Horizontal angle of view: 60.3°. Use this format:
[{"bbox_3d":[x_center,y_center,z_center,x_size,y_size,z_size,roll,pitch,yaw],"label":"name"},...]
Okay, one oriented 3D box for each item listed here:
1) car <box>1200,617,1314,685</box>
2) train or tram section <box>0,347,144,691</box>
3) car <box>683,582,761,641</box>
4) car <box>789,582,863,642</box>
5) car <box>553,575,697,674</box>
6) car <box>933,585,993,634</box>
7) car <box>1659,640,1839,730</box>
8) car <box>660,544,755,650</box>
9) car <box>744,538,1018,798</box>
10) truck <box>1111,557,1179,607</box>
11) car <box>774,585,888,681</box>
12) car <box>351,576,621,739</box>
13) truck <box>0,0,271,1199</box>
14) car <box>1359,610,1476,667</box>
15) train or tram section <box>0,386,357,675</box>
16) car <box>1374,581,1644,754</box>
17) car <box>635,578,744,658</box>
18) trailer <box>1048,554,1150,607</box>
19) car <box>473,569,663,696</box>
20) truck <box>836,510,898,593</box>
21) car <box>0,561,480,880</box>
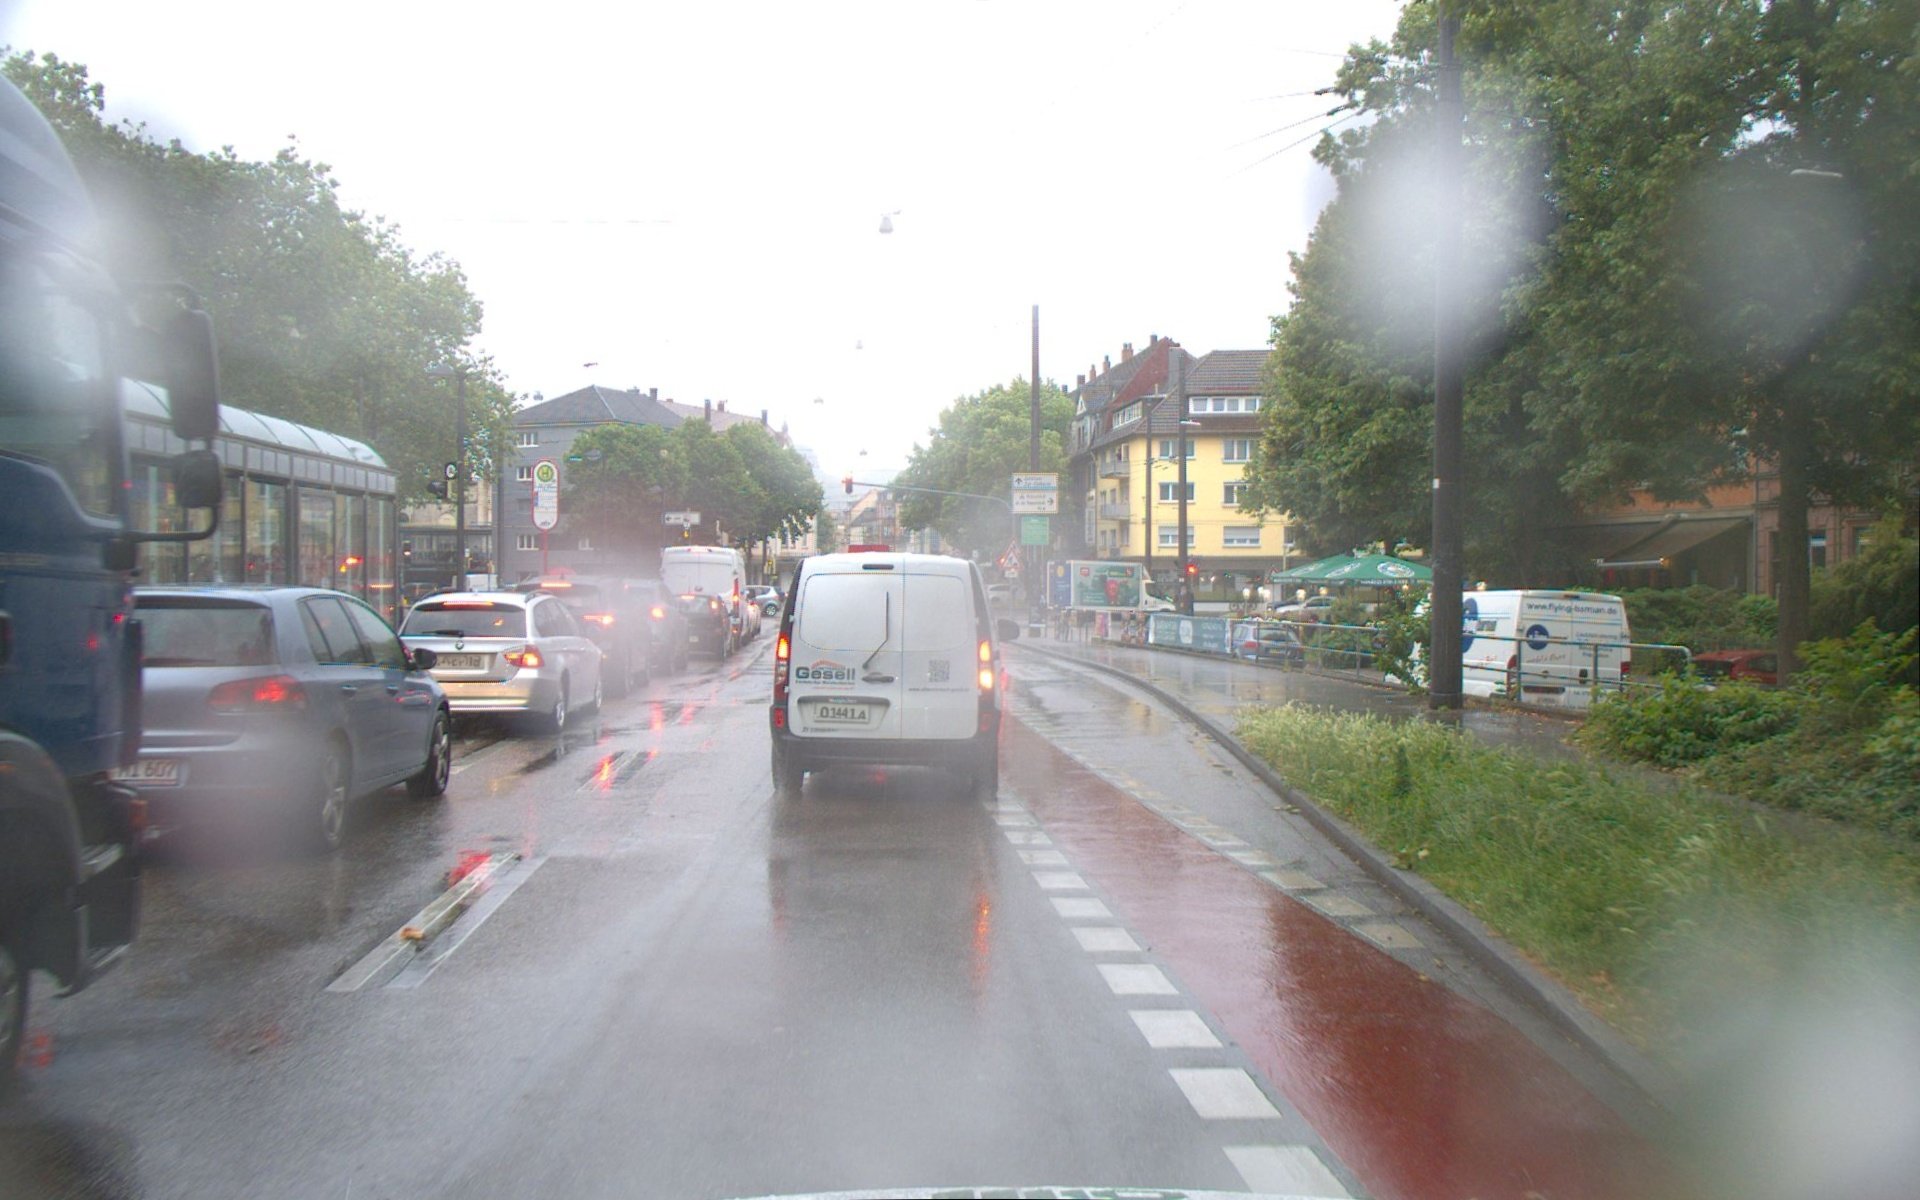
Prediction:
[{"bbox_3d":[7.571,1.264,42.578,1.787,1.516,4.348,-1,1,-5],"label":"car"},{"bbox_3d":[-10.681,-0.742,14.778,2.921,3.343,8.975,-1,1,-5],"label":"train or tram section"},{"bbox_3d":[-7.061,0.339,49.438,1.954,1.624,4.608,2,0,-4],"label":"car"},{"bbox_3d":[-3.506,0.328,43.727,1.725,1.494,3.532,1,-1,-1],"label":"car"},{"bbox_3d":[-5.947,0.419,29.845,1.954,1.606,4.288,2,0,-4],"label":"car"},{"bbox_3d":[0.104,0.298,55.562,1.953,1.569,4.000,0,0,0],"label":"car"},{"bbox_3d":[15.334,1.604,32.108,3.633,1.462,1.687,-2,1,-37],"label":"car"},{"bbox_3d":[-6.353,-0.068,42.093,1.954,2.485,4.608,2,0,-4],"label":"car"},{"bbox_3d":[-0.532,0.505,13.479,1.918,1.808,3.570,1,-1,1],"label":"car"},{"bbox_3d":[8.941,-0.832,79.853,2.615,2.339,1.978,1,-1,-32],"label":"truck"},{"bbox_3d":[-2.133,0.543,28.232,1.725,1.494,3.532,1,-1,-1],"label":"car"},{"bbox_3d":[-5.006,0.525,18.085,1.954,1.498,4.263,2,1,-4],"label":"car"},{"bbox_3d":[-3.516,-0.548,3.658,2.530,3.972,3.996,1,0,-5],"label":"truck"},{"bbox_3d":[13.892,1.131,50.099,1.857,1.504,3.977,0,1,42],"label":"car"},{"bbox_3d":[-11.435,-0.882,23.707,2.921,3.343,8.975,-1,1,-5],"label":"train or tram section"},{"bbox_3d":[9.170,0.997,28.292,2.138,2.576,5.769,-1,1,-7],"label":"car"},{"bbox_3d":[-5.913,0.382,36.594,1.954,1.606,4.288,2,0,-4],"label":"car"},{"bbox_3d":[6.597,-0.888,78.397,4.608,2.357,1.978,1,-1,-32],"label":"trailer"},{"bbox_3d":[-5.519,0.427,23.844,1.954,1.606,4.288,2,0,-4],"label":"car"},{"bbox_3d":[-6.084,-3.075,106.546,3.215,4.985,11.385,-1,1,-7],"label":"truck"},{"bbox_3d":[-4.467,0.566,10.339,1.954,1.564,4.129,-1,1,-4],"label":"car"}]
